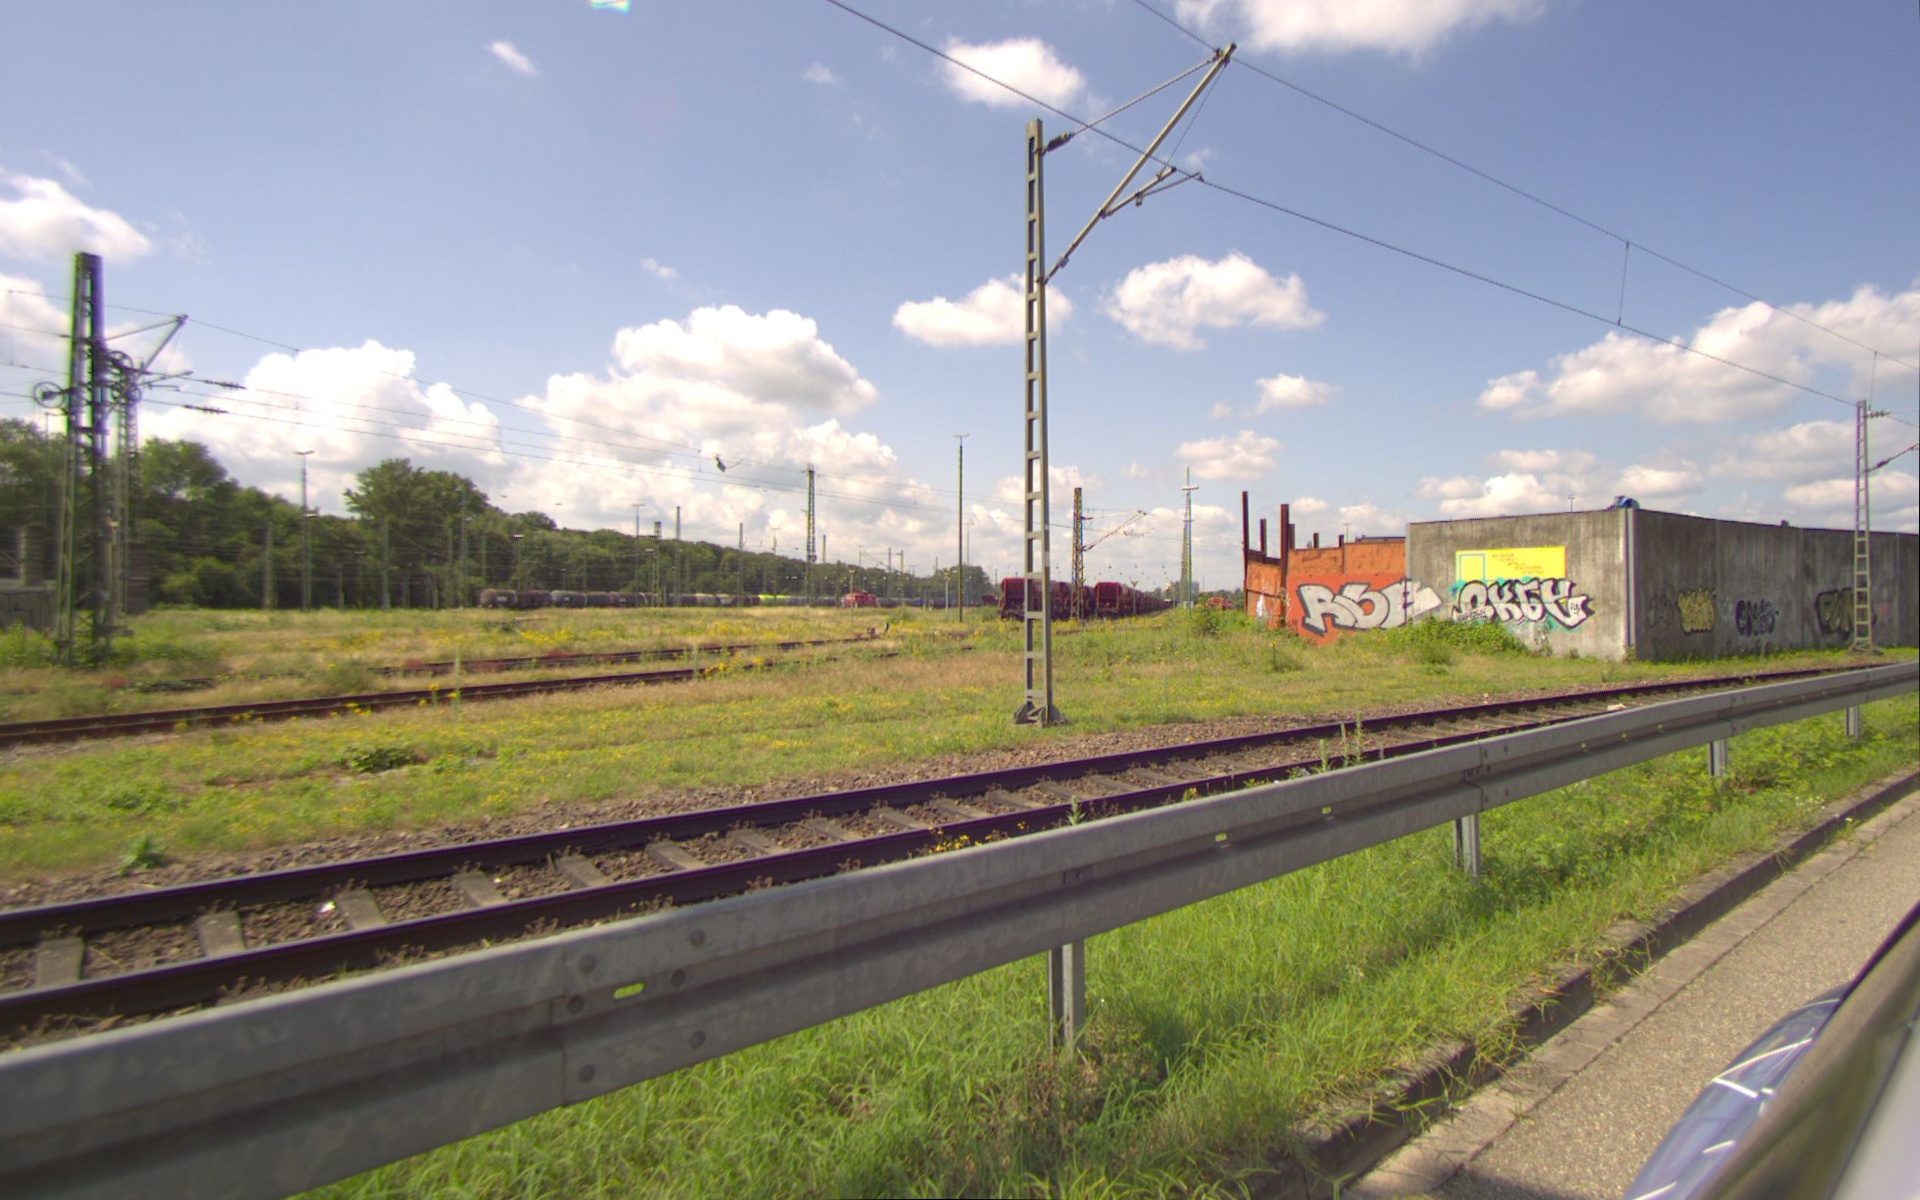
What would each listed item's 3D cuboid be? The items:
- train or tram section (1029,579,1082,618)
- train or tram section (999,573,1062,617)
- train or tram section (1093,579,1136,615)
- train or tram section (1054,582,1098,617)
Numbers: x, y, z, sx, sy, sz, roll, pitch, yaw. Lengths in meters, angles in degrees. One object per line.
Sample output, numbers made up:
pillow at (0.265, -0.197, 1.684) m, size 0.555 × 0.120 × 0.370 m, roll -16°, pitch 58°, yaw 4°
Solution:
train or tram section at (10.024, -0.103, 104.525) m, size 3.185 × 3.764 × 12.486 m, roll 0°, pitch 0°, yaw 16°
train or tram section at (6.589, -0.387, 92.551) m, size 3.256 × 3.764 × 12.486 m, roll 0°, pitch 0°, yaw 16°
train or tram section at (17.460, -0.260, 113.444) m, size 3.161 × 3.764 × 12.486 m, roll 0°, pitch 0°, yaw 16°
train or tram section at (13.439, -0.023, 116.518) m, size 3.056 × 3.764 × 12.486 m, roll 0°, pitch 0°, yaw 16°
